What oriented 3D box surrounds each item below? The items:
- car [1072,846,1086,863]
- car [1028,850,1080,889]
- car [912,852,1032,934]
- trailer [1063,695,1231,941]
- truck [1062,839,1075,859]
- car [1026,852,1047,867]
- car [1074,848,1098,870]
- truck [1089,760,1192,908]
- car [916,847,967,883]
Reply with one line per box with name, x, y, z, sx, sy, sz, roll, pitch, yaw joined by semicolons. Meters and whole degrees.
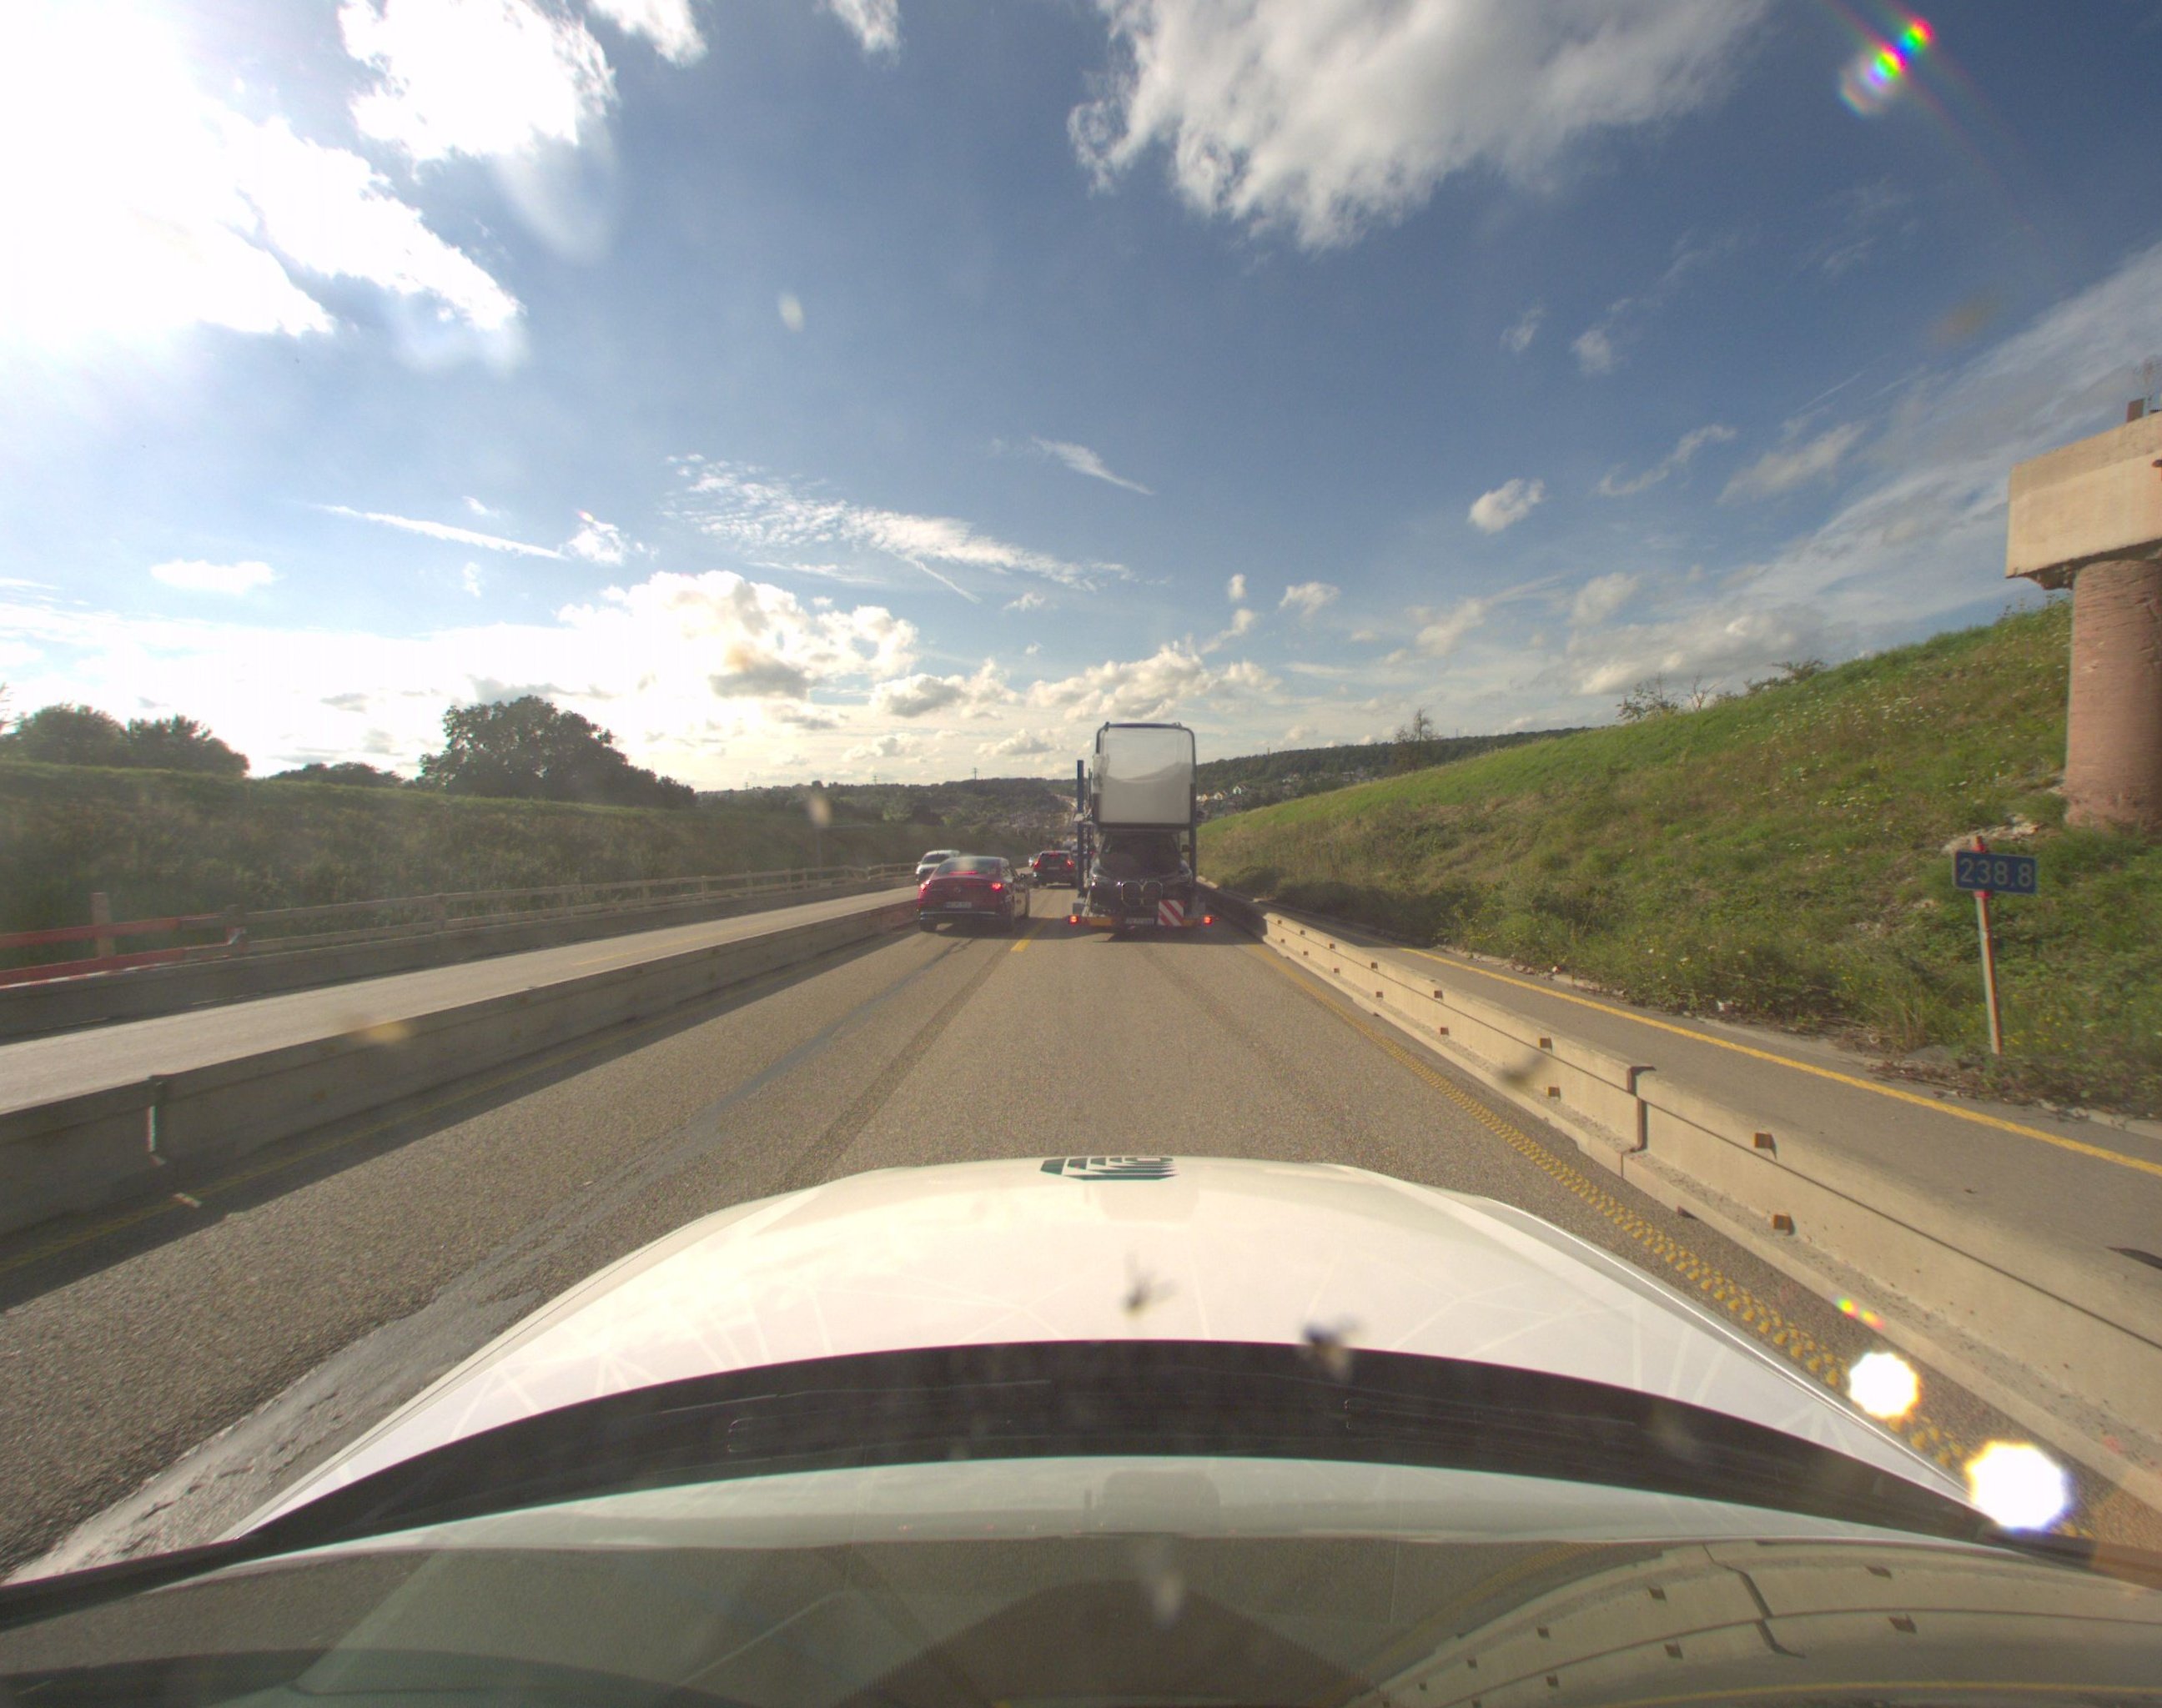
car;-0.369;0.083;147.849;2.101;2.835;6.143;-4;0;3
car;-1.128;0.636;36.569;1.986;1.625;4.753;0;0;2
car;-2.144;0.712;17.347;1.816;1.492;4.686;0;1;1
trailer;1.427;-0.617;19.251;2.696;4.029;11.429;-1;0;3
truck;-2.683;-1.148;175.929;2.608;4.153;5.777;-1;0;-2
car;-4.640;0.570;84.846;1.727;1.425;4.629;-4;0;2
car;0.426;0.356;64.386;1.790;1.596;4.744;-1;0;1
truck;1.757;-0.544;24.810;2.666;3.922;6.033;-1;0;3
car;-7.236;0.552;42.625;1.728;1.659;4.219;-4;1;1
